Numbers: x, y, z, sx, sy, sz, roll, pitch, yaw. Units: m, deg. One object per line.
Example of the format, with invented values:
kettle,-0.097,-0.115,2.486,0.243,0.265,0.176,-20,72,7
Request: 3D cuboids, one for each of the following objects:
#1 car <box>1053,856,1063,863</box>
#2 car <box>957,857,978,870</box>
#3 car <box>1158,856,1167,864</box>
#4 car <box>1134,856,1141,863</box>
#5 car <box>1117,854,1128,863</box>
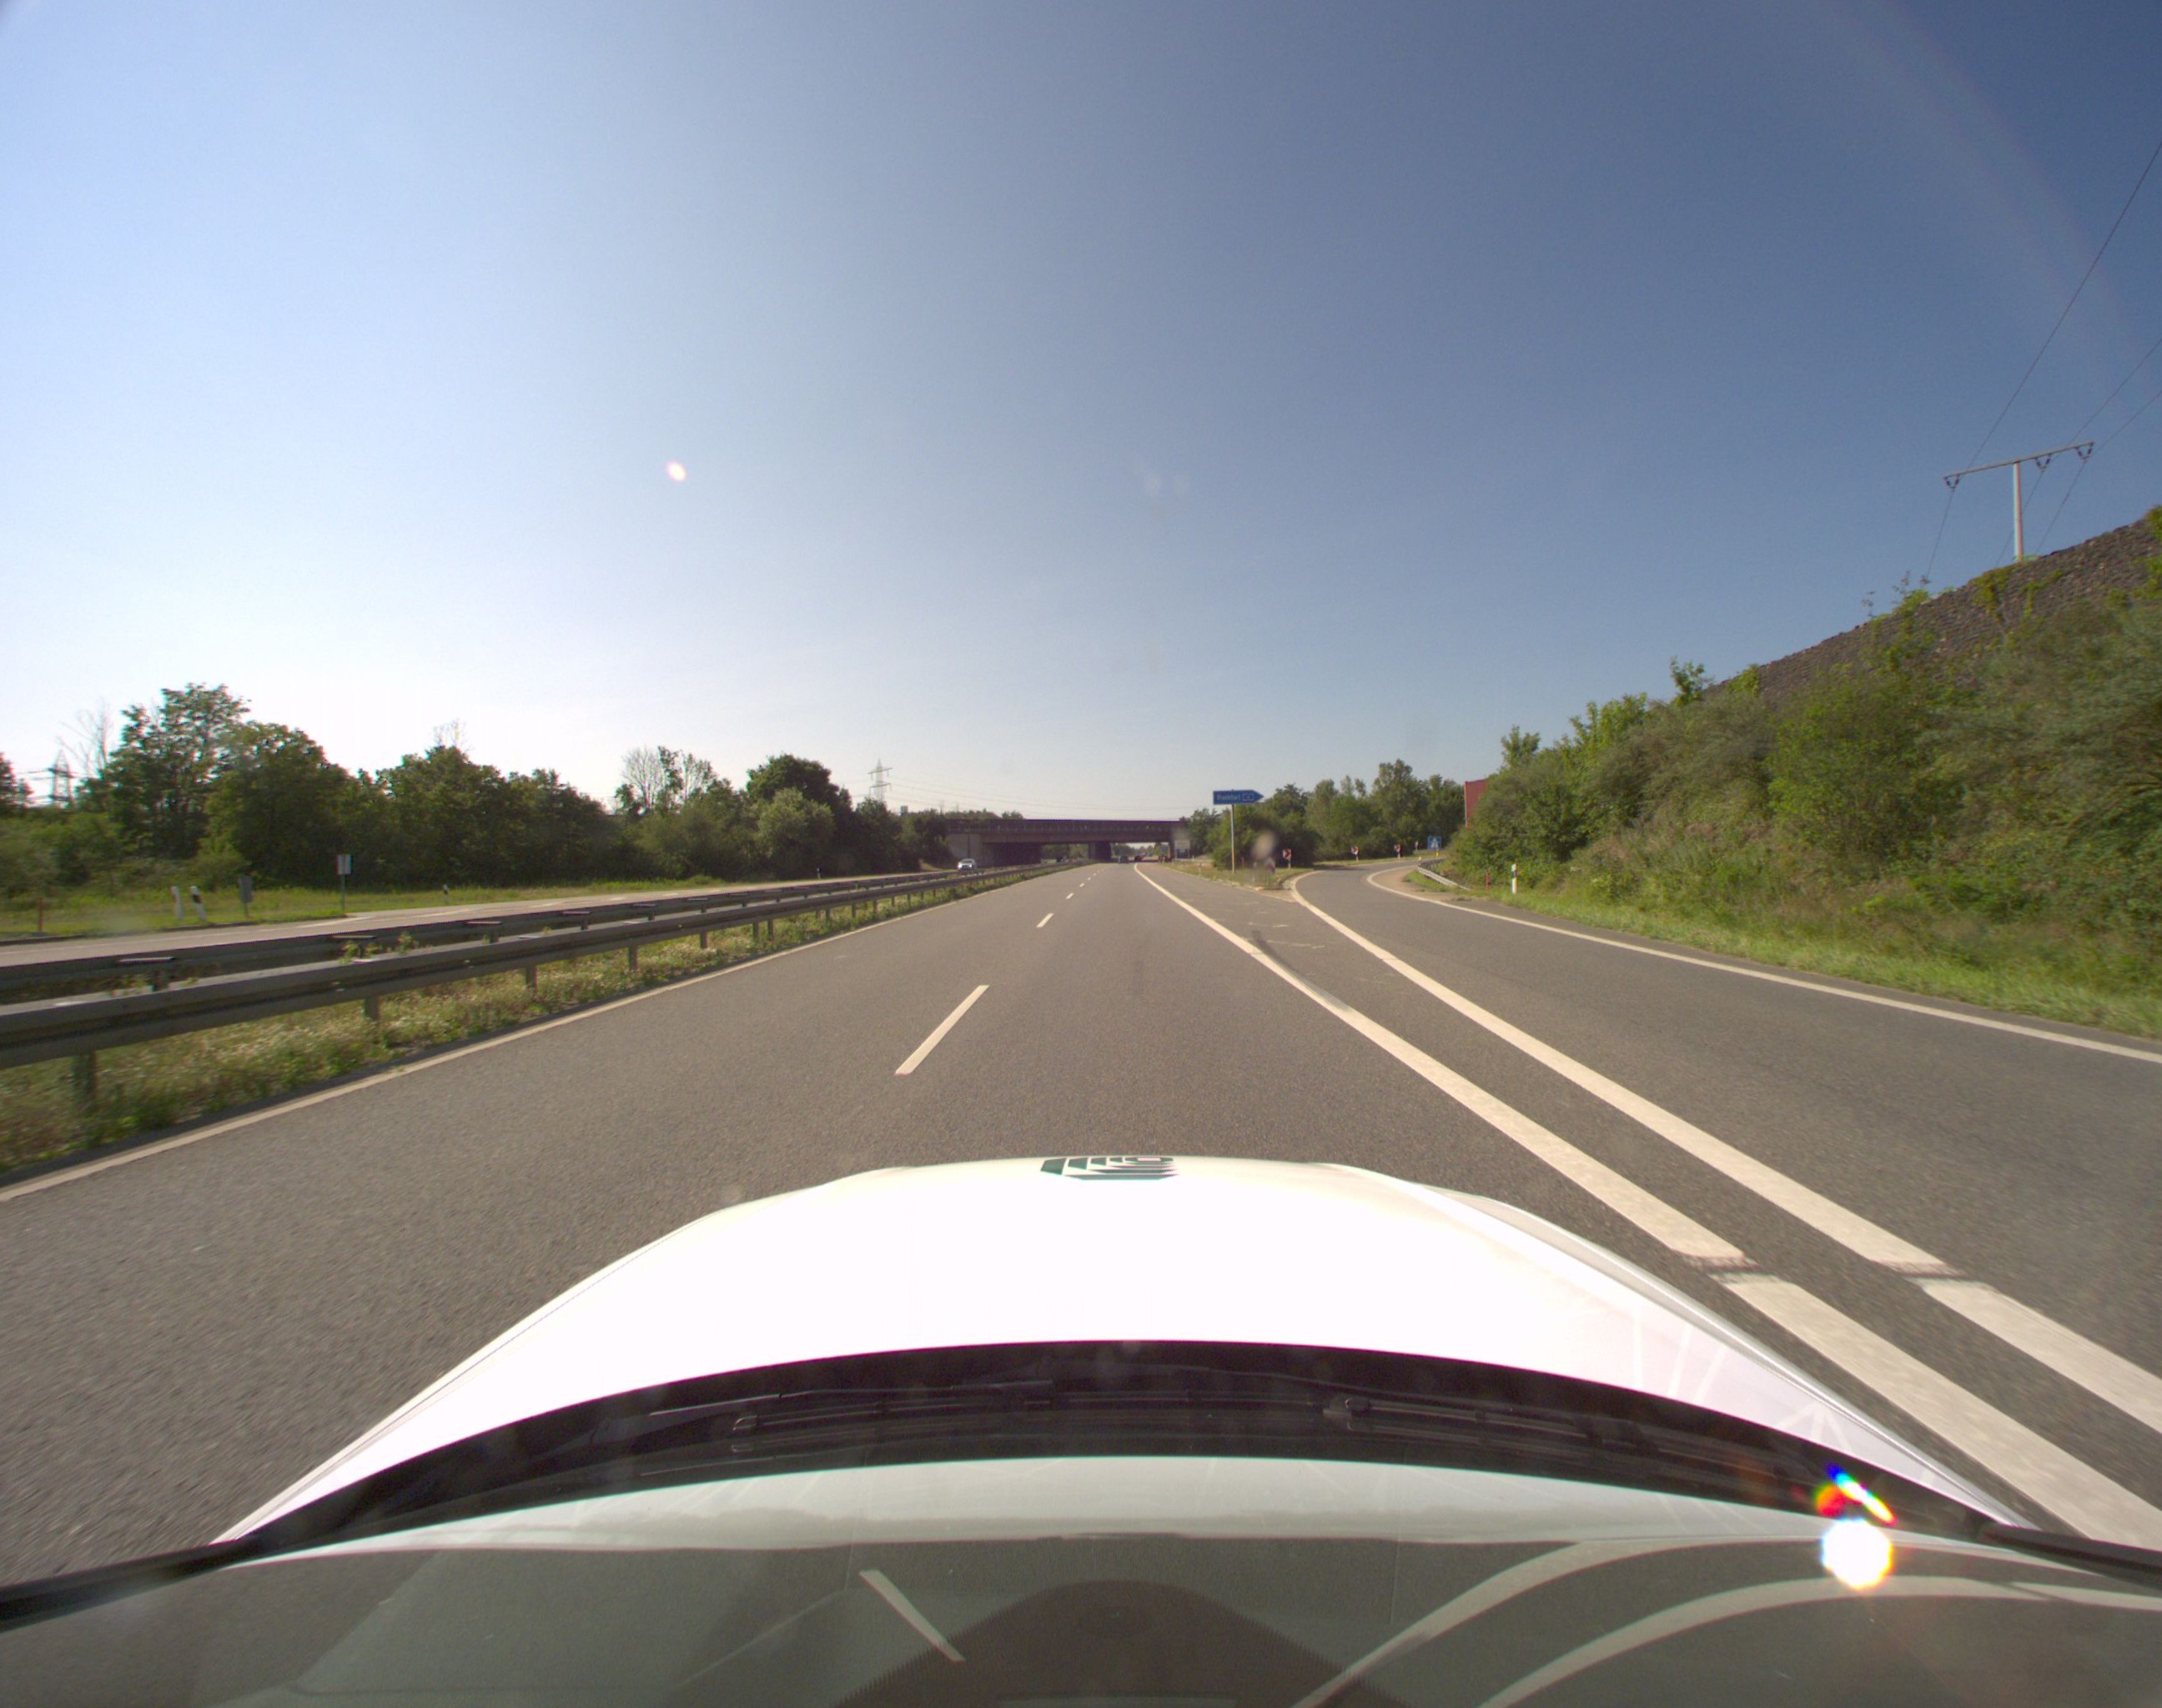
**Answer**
car,-5.171,1.242,185.267,1.955,1.410,3.638,-2,0,2
car,-13.069,1.110,94.109,1.668,1.410,3.765,0,0,2
car,17.282,1.363,172.567,1.842,1.644,4.003,0,0,3
car,14.121,1.413,203.319,1.842,1.644,4.003,0,0,3
car,7.623,0.788,149.079,1.842,1.644,4.003,0,0,3
